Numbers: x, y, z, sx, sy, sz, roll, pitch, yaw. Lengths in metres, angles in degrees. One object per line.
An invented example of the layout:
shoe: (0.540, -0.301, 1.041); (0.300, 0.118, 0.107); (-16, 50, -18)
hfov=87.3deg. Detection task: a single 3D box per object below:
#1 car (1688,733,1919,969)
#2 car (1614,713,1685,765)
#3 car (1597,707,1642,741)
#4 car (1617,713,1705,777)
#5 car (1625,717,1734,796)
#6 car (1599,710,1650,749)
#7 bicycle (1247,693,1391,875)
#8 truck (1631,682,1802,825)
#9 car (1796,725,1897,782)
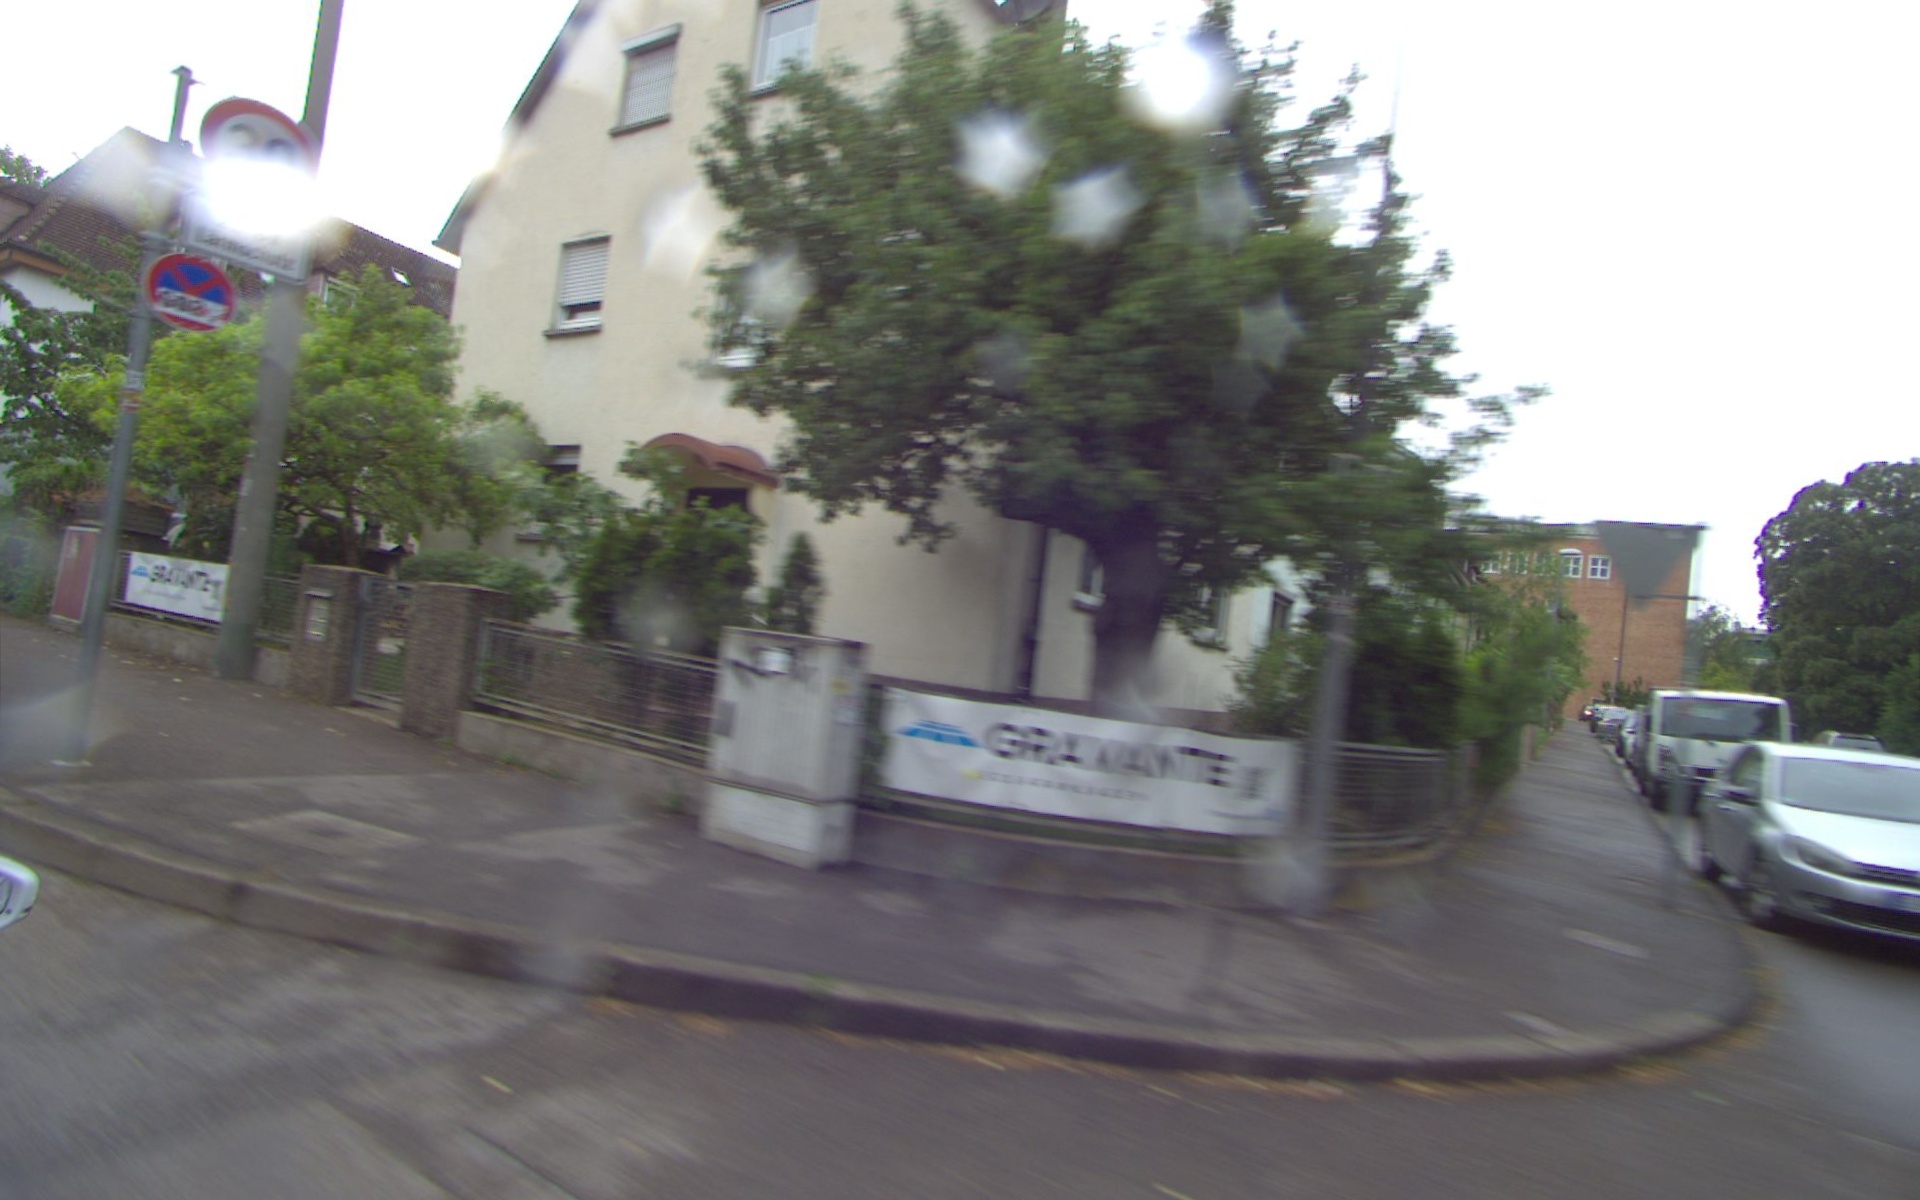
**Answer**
car: (7.666, 2.020, 8.676); (1.675, 1.439, 3.997); (5, -3, 29)
car: (24.141, 4.812, 35.327); (1.676, 1.439, 3.994); (7, -1, 31)
car: (33.598, 6.289, 51.325); (1.676, 1.439, 3.994); (4, -3, 31)
car: (20.177, 4.129, 29.094); (1.676, 1.439, 3.994); (7, -1, 31)
car: (17.208, 3.678, 24.233); (1.676, 1.439, 3.994); (7, -1, 31)
car: (29.892, 5.803, 45.337); (1.676, 1.439, 3.994); (4, -3, 31)
bicycle: (2.658, 1.301, 7.345); (0.450, 1.128, 1.572); (7, -2, 36)
truck: (13.854, 2.712, 18.766); (1.968, 2.083, 5.837); (2, -4, 32)
car: (30.243, 5.194, 34.430); (1.675, 1.537, 3.997); (5, -3, 29)
